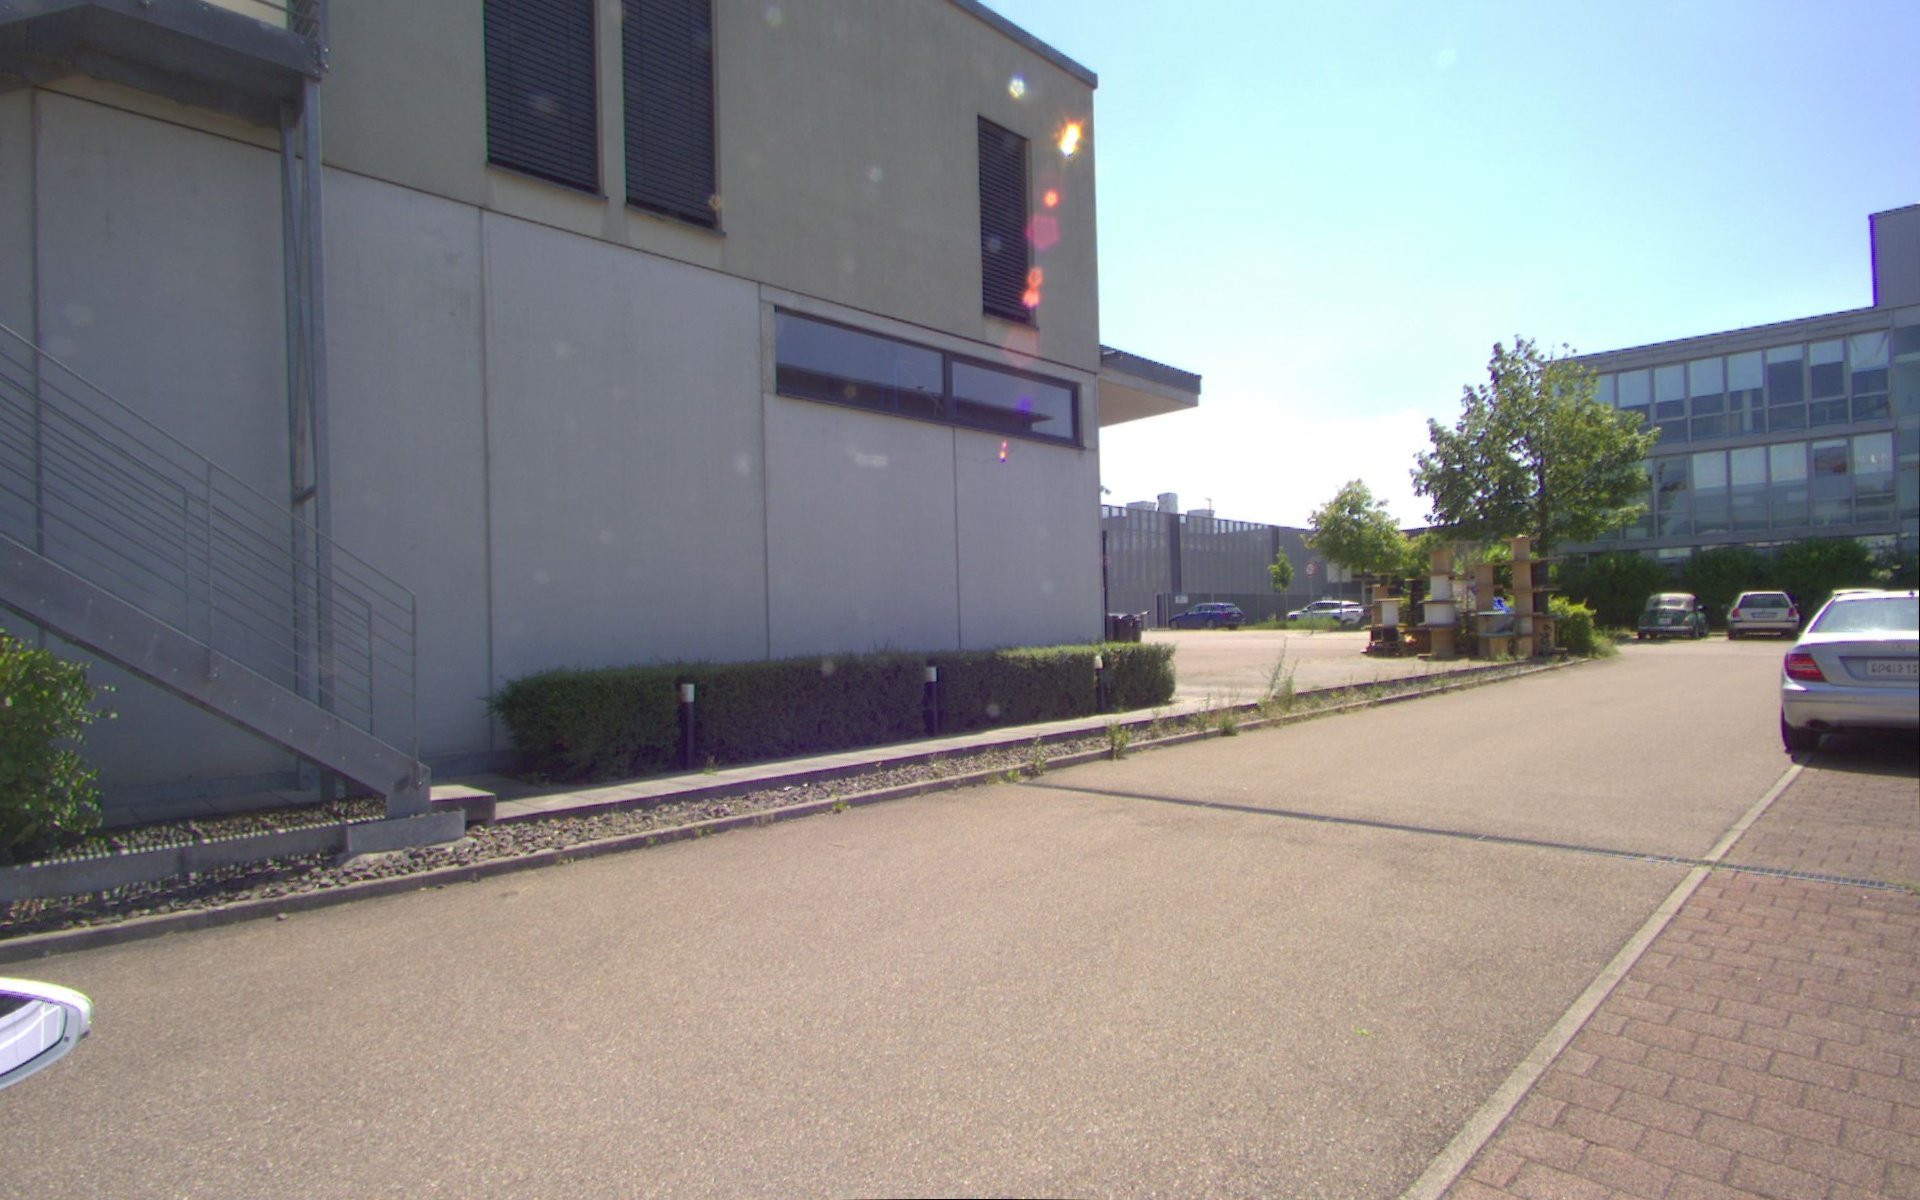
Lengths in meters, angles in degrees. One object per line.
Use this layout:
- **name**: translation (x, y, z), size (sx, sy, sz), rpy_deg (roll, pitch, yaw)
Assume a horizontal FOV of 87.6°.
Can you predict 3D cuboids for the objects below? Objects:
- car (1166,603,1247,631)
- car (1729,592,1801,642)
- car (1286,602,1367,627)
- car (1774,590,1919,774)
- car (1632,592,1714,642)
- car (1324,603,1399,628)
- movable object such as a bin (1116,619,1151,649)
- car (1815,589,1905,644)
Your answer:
- **car**: translation (13.419, 0.961, 54.676), size (1.725, 1.433, 4.426), rpy_deg (1, -2, -30)
- **car**: translation (25.146, 0.538, 31.355), size (1.654, 1.459, 3.972), rpy_deg (-1, -2, 38)
- **car**: translation (21.774, 0.900, 59.591), size (1.725, 1.433, 4.424), rpy_deg (1, -2, -31)
- **car**: translation (8.888, 0.672, 9.241), size (3.680, 1.455, 1.713), rpy_deg (1, -2, -44)
- **car**: translation (23.462, 0.562, 32.897), size (1.730, 1.538, 3.966), rpy_deg (-1, -2, 42)
- **car**: translation (24.429, 0.953, 60.990), size (1.725, 1.433, 4.044), rpy_deg (1, -2, -31)
- **movable object such as a bin**: translation (5.770, 1.125, 33.309), size (0.803, 0.993, 0.809), rpy_deg (0, -1, -45)
- **car**: translation (27.110, 0.517, 30.272), size (1.728, 1.538, 3.972), rpy_deg (-1, -2, 38)
